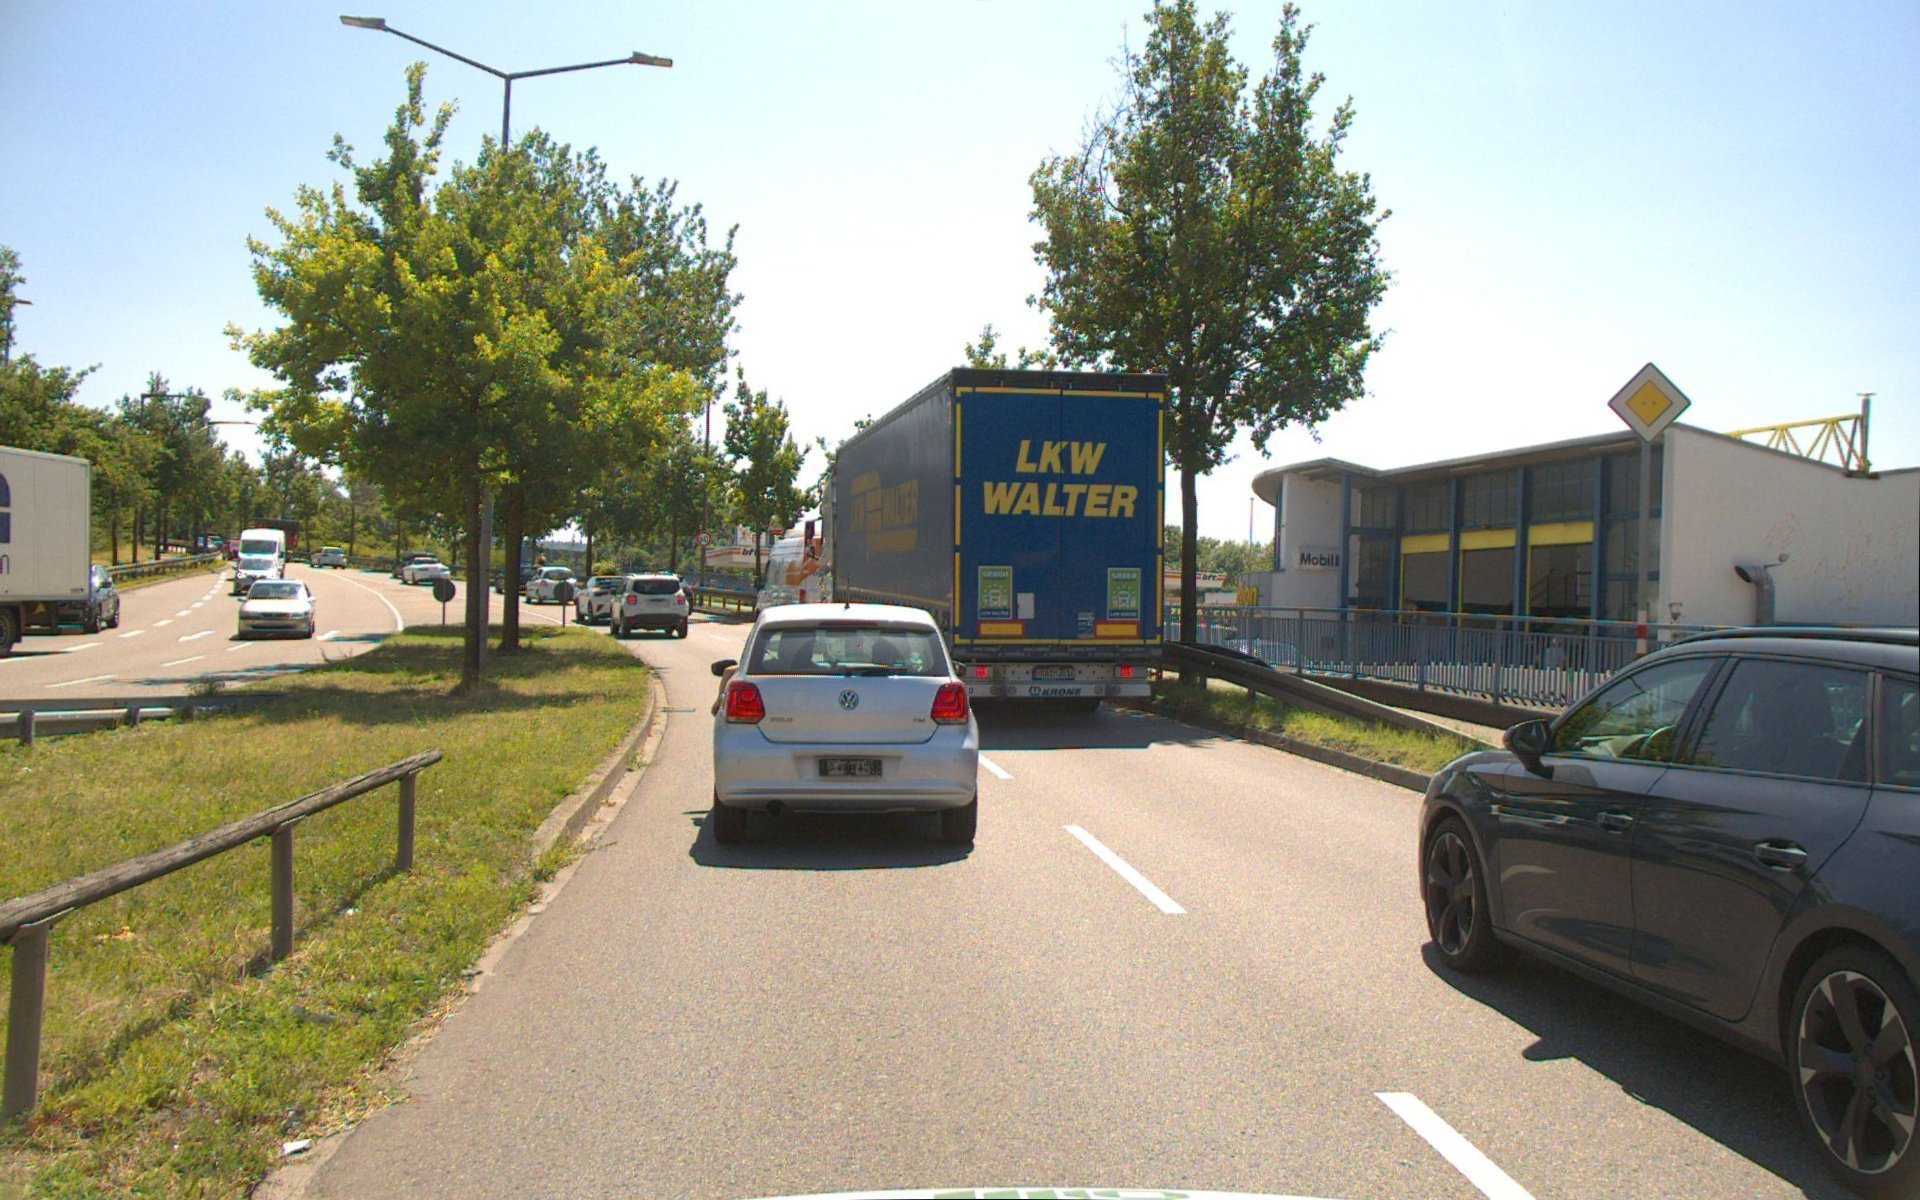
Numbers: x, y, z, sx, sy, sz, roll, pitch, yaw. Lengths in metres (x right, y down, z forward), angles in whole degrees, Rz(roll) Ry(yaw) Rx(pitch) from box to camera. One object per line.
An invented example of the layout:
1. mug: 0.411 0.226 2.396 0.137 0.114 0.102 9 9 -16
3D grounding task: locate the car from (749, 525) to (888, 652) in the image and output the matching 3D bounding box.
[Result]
1. car: -3.736 -0.354 42.353 2.142 2.951 6.328 1 1 -17

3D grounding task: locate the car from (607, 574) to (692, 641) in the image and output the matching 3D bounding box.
1. car: -8.606 0.207 45.618 1.873 1.748 4.204 1 0 -17

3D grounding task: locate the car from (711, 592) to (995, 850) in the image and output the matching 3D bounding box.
1. car: -0.709 0.712 11.341 1.613 1.464 3.534 1 0 -3

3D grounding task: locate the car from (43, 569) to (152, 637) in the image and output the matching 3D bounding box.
1. car: -22.343 0.074 42.990 1.463 1.661 4.457 1 0 -14

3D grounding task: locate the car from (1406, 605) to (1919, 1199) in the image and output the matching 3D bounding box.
1. car: 3.012 0.773 5.367 1.574 1.481 4.229 1 0 -6

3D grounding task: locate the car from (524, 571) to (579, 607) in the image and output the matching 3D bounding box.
1. car: -16.569 -0.454 66.984 1.586 1.383 3.636 1 0 -23

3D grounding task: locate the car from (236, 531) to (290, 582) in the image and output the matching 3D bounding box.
1. car: -35.715 -2.249 84.900 2.062 2.544 5.780 0 2 -18

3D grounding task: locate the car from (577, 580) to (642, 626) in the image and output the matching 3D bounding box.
1. car: -11.172 0.077 52.600 1.473 1.383 3.640 1 0 -21

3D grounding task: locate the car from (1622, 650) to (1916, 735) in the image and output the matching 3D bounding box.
1. car: 15.552 1.737 32.025 4.966 1.381 1.998 1 0 26

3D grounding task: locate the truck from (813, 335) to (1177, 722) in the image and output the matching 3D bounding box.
1. truck: -0.302 -0.860 26.676 2.781 4.271 16.437 1 0 -10

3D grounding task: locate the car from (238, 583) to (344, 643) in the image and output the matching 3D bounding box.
1. car: -16.873 0.322 41.886 1.604 1.427 4.212 0 0 -10

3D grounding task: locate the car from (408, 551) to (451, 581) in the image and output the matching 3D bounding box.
1. car: -27.836 -1.758 86.735 1.644 1.490 3.551 1 0 -26

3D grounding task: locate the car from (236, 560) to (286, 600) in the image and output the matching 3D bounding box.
1. car: -28.769 -0.790 68.121 1.609 1.594 4.050 0 0 -19

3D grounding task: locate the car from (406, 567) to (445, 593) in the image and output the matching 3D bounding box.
1. car: -28.032 -1.033 86.643 1.439 1.337 3.607 1 0 -26

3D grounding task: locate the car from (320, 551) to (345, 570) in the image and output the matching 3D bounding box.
1. car: -43.210 -2.707 113.863 1.306 1.158 2.969 1 0 -27

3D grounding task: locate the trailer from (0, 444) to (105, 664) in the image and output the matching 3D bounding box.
1. trailer: -19.483 -0.836 28.580 2.950 4.120 12.704 1 1 -1
